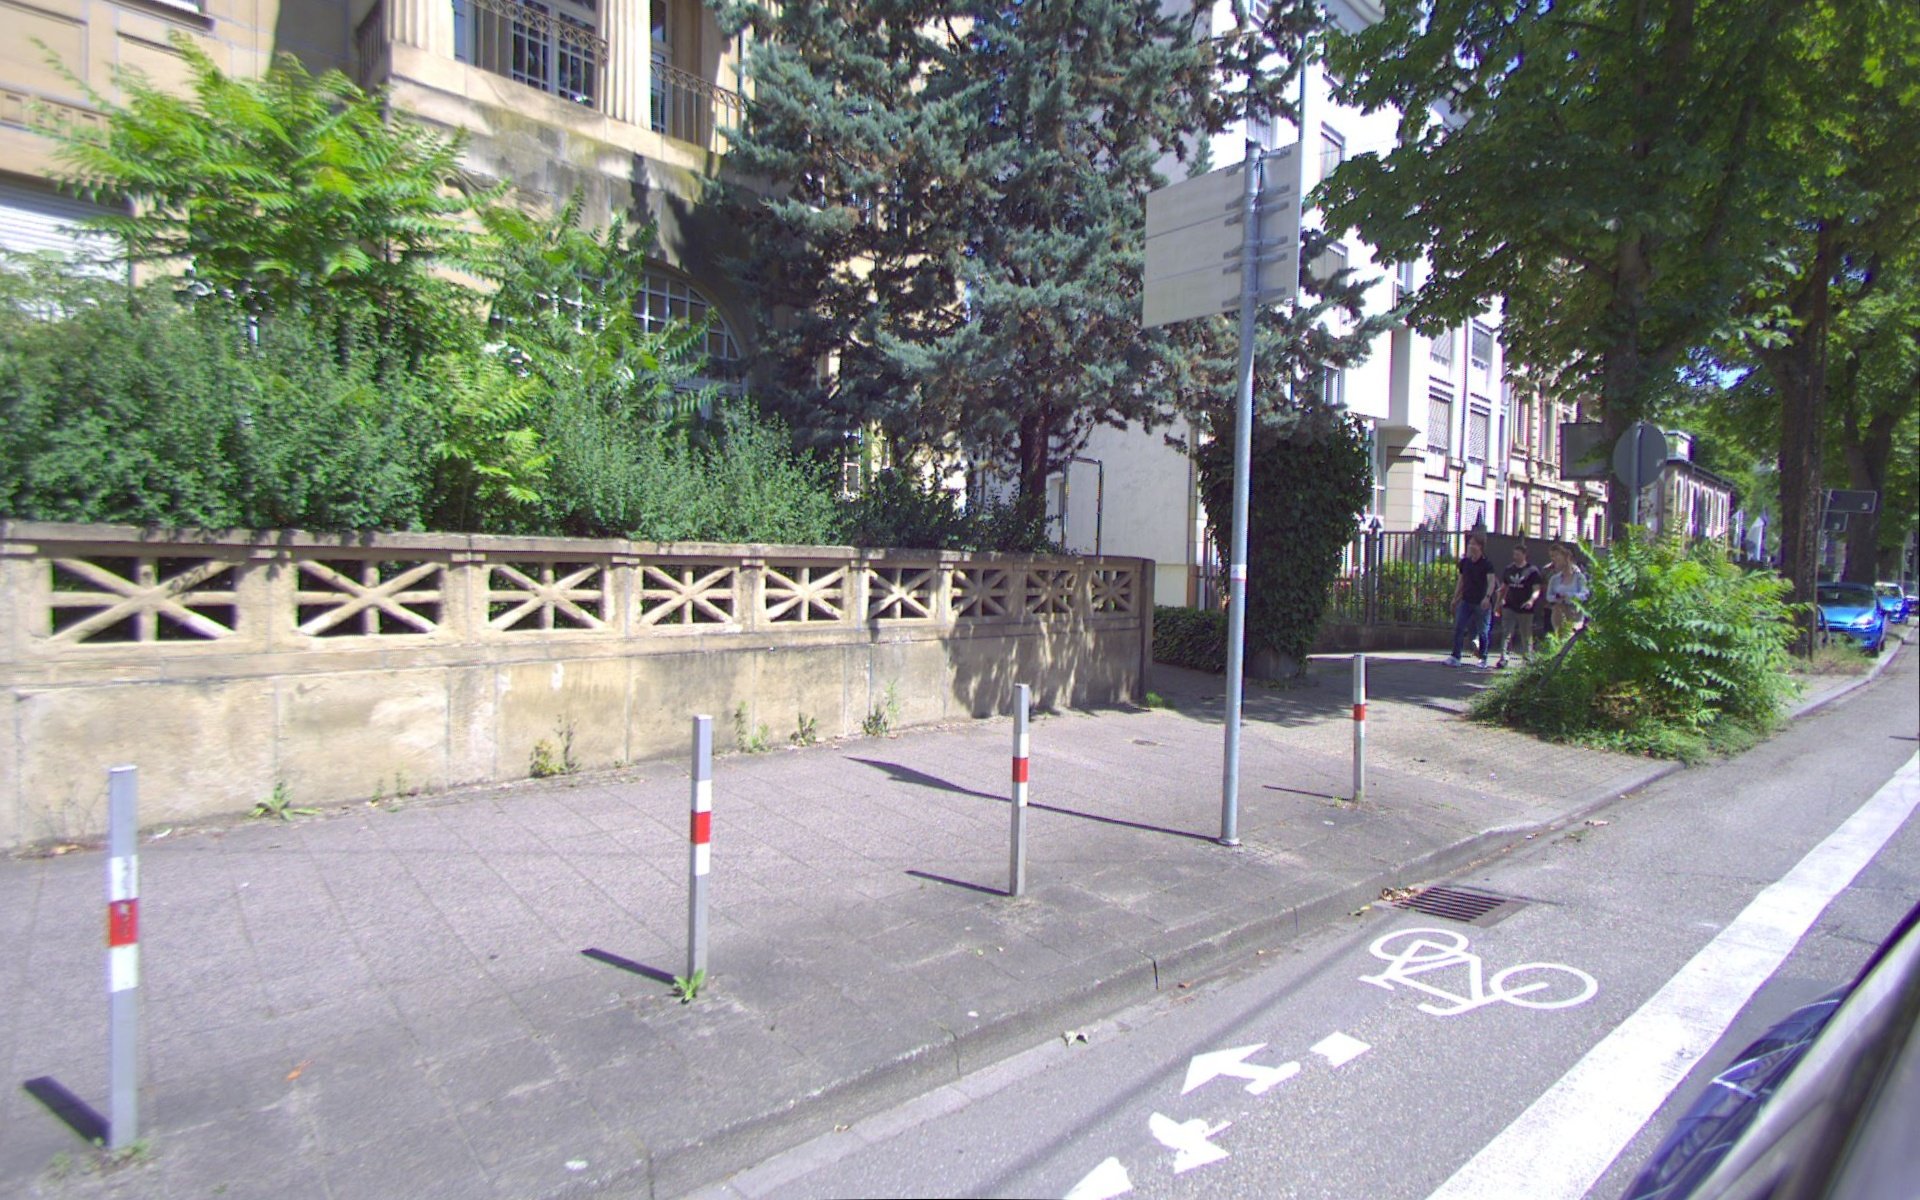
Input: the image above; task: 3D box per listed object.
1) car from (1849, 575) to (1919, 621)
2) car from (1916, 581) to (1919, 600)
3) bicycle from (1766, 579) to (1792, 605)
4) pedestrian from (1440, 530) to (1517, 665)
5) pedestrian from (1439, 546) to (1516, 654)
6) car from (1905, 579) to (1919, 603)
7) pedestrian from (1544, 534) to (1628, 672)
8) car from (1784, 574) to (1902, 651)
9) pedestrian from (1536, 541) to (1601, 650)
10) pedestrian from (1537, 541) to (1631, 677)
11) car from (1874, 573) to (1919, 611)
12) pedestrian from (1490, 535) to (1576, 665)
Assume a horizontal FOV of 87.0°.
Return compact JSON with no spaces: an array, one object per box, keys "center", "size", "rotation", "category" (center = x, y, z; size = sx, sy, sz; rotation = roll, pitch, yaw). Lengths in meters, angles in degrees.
[{"center":[31.716,-0.103,34.651],"size":[1.692,1.470,3.419],"rotation":[3,3,44],"category":"car"},{"center":[73.845,-0.665,76.844],"size":[1.624,1.419,3.936],"rotation":[6,5,45],"category":"car"},{"center":[35.368,-0.349,43.696],"size":[1.947,1.084,0.608],"rotation":[-1,3,-43],"category":"bicycle"},{"center":[7.350,-0.058,14.339],"size":[0.961,1.834,0.661],"rotation":[0,2,-45],"category":"pedestrian"},{"center":[8.317,-0.022,16.271],"size":[0.857,1.666,0.824],"rotation":[3,3,43],"category":"pedestrian"},{"center":[60.280,-0.514,63.210],"size":[1.624,1.419,3.761],"rotation":[6,5,45],"category":"car"},{"center":[8.490,0.019,13.723],"size":[0.931,1.798,0.705],"rotation":[0,2,-43],"category":"pedestrian"},{"center":[18.933,0.198,21.651],"size":[1.678,1.461,3.662],"rotation":[3,3,44],"category":"car"},{"center":[10.599,-0.092,17.612],"size":[1.066,1.819,0.685],"rotation":[0,2,-45],"category":"pedestrian"},{"center":[8.051,0.095,13.052],"size":[0.958,1.671,0.767],"rotation":[0,2,-43],"category":"pedestrian"},{"center":[44.658,-0.401,47.909],"size":[4.018,1.635,1.732],"rotation":[-1,5,-45],"category":"car"},{"center":[8.208,-0.024,14.493],"size":[0.788,1.783,1.035],"rotation":[3,2,44],"category":"pedestrian"}]
